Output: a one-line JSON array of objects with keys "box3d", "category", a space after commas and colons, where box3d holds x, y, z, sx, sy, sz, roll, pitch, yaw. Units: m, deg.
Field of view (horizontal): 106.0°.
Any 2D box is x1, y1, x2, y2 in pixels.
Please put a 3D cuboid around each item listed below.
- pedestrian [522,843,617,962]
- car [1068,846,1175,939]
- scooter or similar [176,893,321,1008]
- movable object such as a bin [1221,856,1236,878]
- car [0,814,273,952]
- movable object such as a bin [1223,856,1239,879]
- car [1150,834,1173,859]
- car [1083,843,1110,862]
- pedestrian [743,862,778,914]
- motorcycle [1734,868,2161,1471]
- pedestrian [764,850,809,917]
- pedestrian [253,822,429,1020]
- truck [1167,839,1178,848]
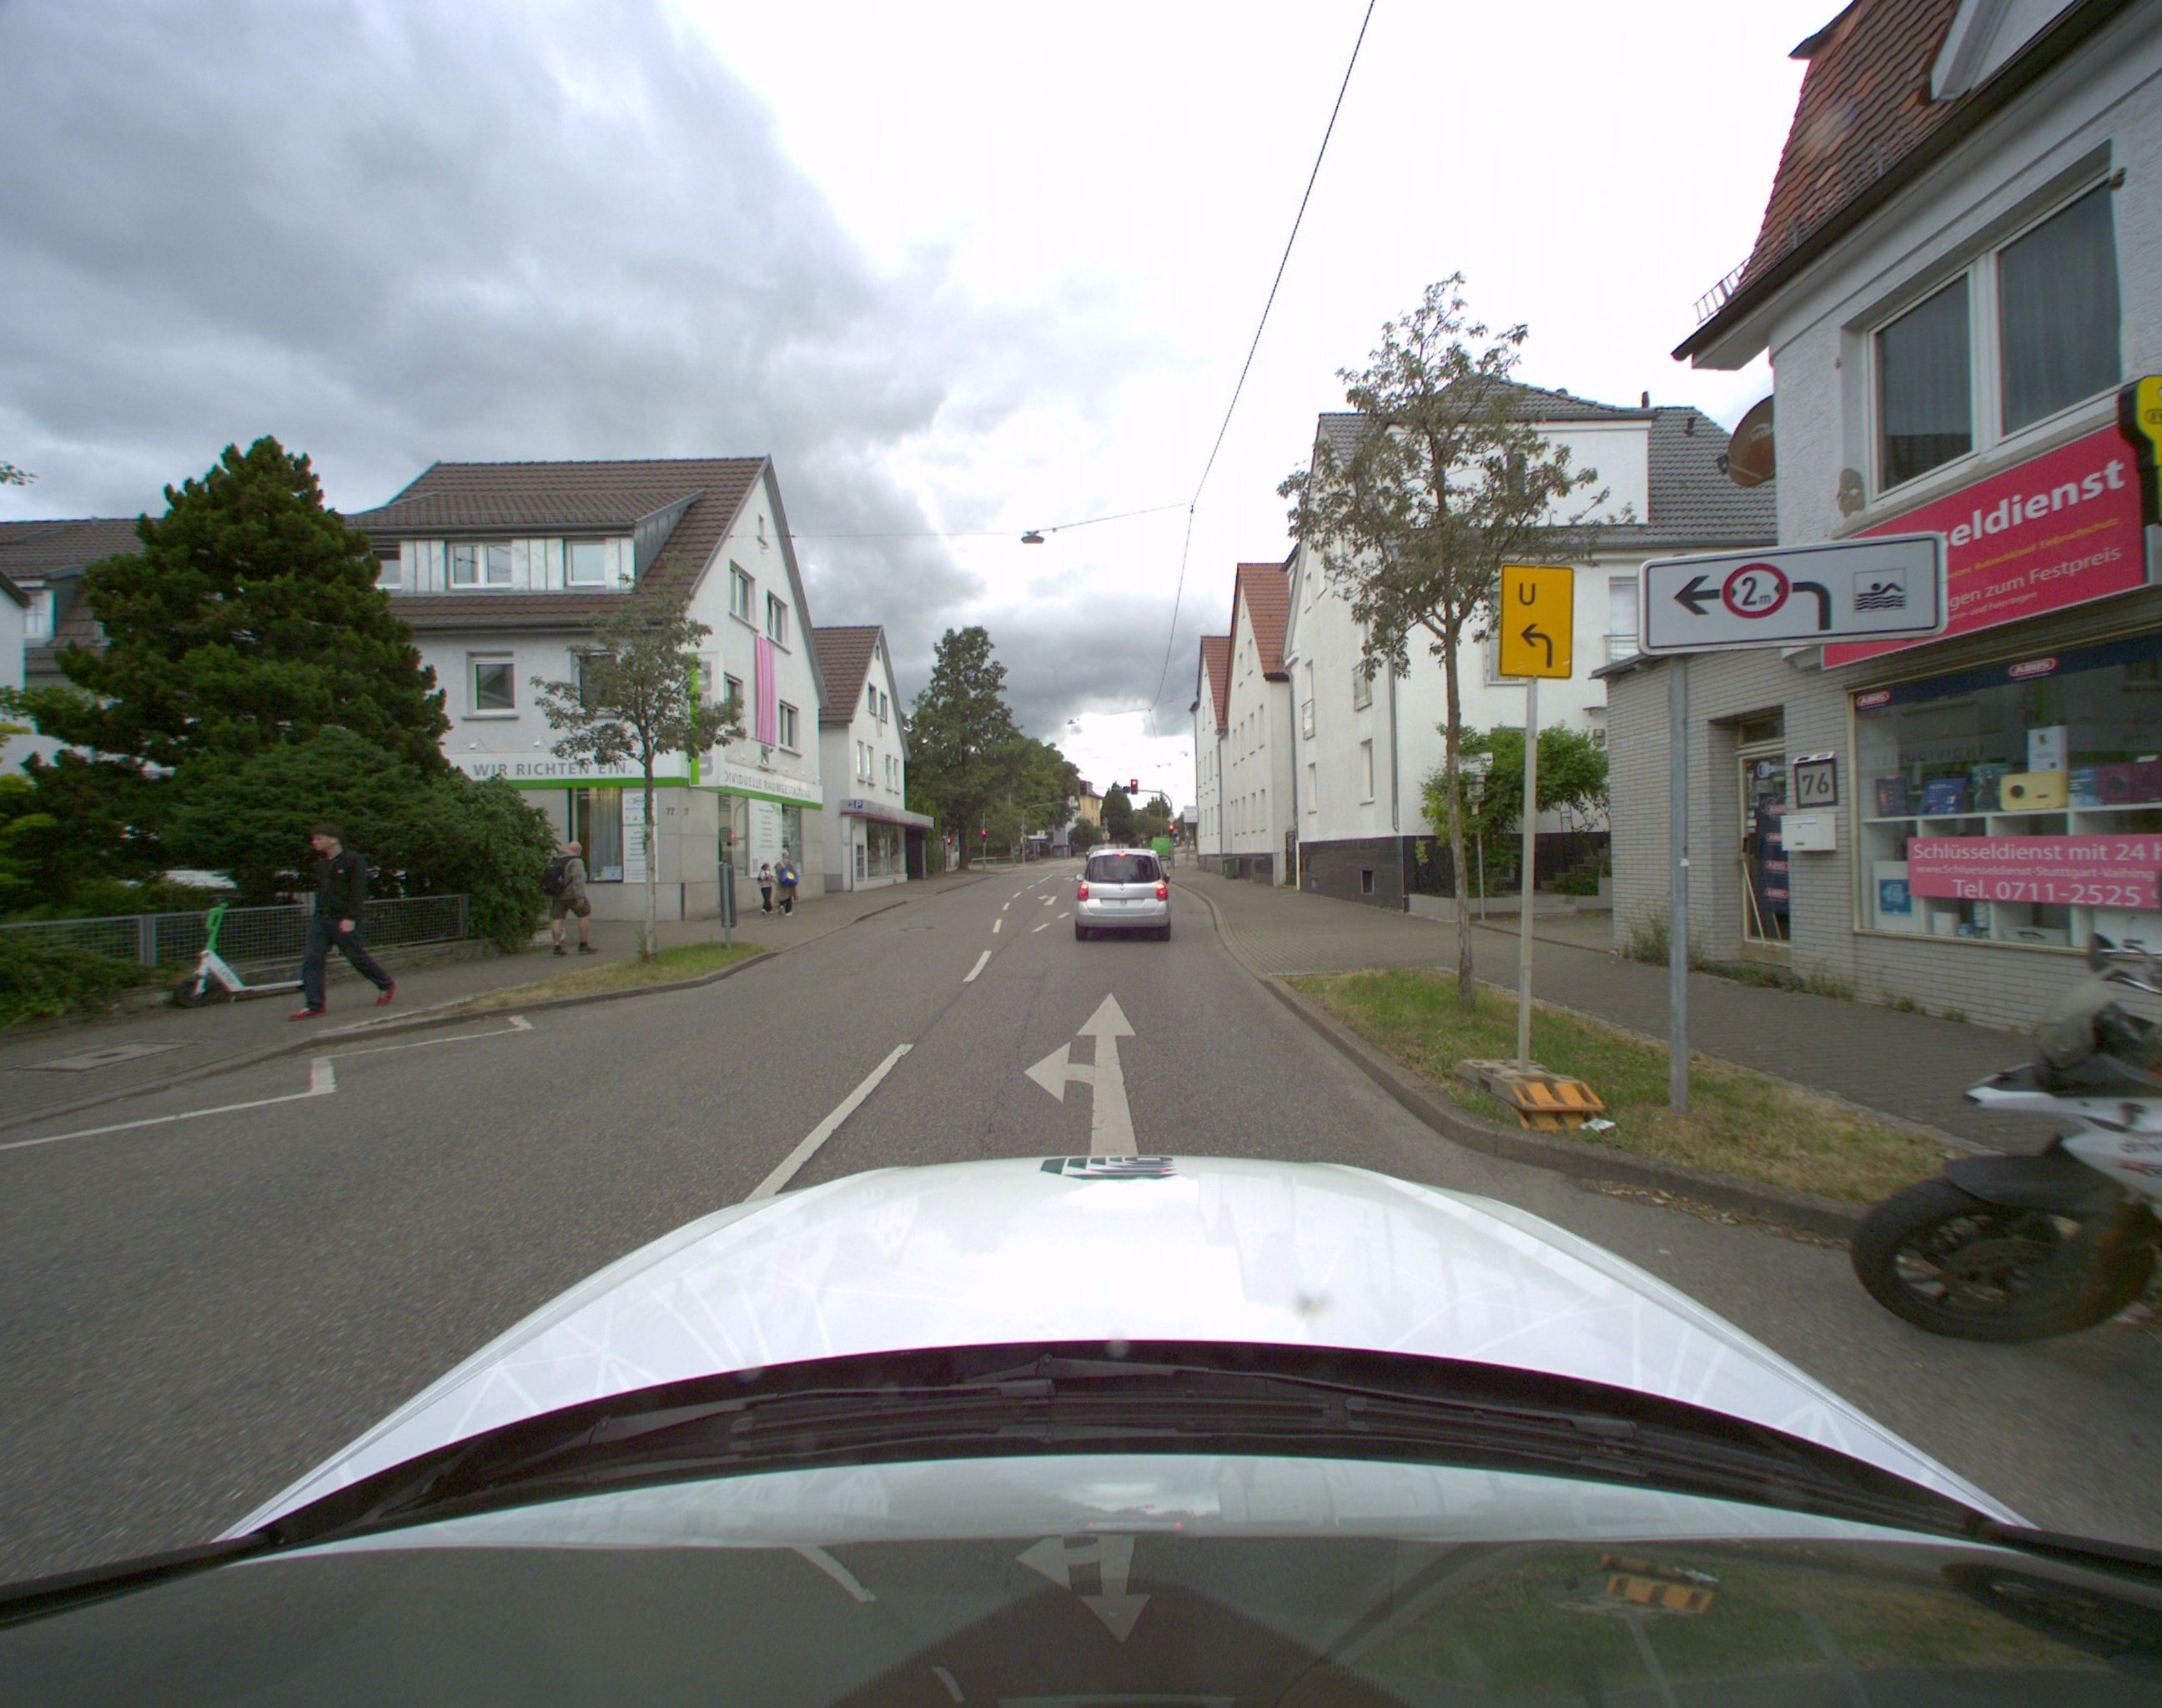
[{"box3d": [-7.855, 0.719, 12.547, 0.748, 1.743, 1.020, 1, 0, 2], "category": "pedestrian"}, {"box3d": [0.752, 0.634, 15.417, 1.748, 1.530, 4.002, 0, 0, 2], "category": "car"}, {"box3d": [-9.029, 1.008, 8.889, 0.338, 1.111, 1.180, 0, 0, 2], "category": "scooter or similar"}, {"box3d": [6.480, 0.575, 35.730, 0.538, 0.941, 0.487, -4, 0, 2], "category": "movable object such as a bin"}, {"box3d": [-19.695, 0.588, 16.247, 5.275, 2.464, 2.002, -2, 0, 4], "category": "car"}, {"box3d": [6.479, 0.576, 35.193, 0.538, 0.941, 0.487, -4, 0, 2], "category": "movable object such as a bin"}, {"box3d": [8.470, -0.812, 85.283, 2.046, 2.512, 5.611, 0, 0, 10], "category": "car"}, {"box3d": [1.692, -0.197, 87.334, 1.913, 1.773, 4.014, -5, 0, 13], "category": "car"}, {"box3d": [-8.080, 0.859, 20.557, 0.597, 1.279, 0.655, 0, 0, 2], "category": "pedestrian"}, {"box3d": [3.007, 0.742, 1.870, 0.779, 1.381, 2.219, 0, 0, -35], "category": "motorcycle"}, {"box3d": [-7.350, 0.725, 20.337, 0.748, 1.617, 0.793, 2, 0, 2], "category": "pedestrian"}, {"box3d": [-7.432, 0.638, 8.238, 0.748, 1.849, 1.020, 2, 0, 2], "category": "pedestrian"}, {"box3d": [22.458, -2.600, 199.039, 2.087, 2.013, 5.767, 0, 0, 12], "category": "truck"}]
